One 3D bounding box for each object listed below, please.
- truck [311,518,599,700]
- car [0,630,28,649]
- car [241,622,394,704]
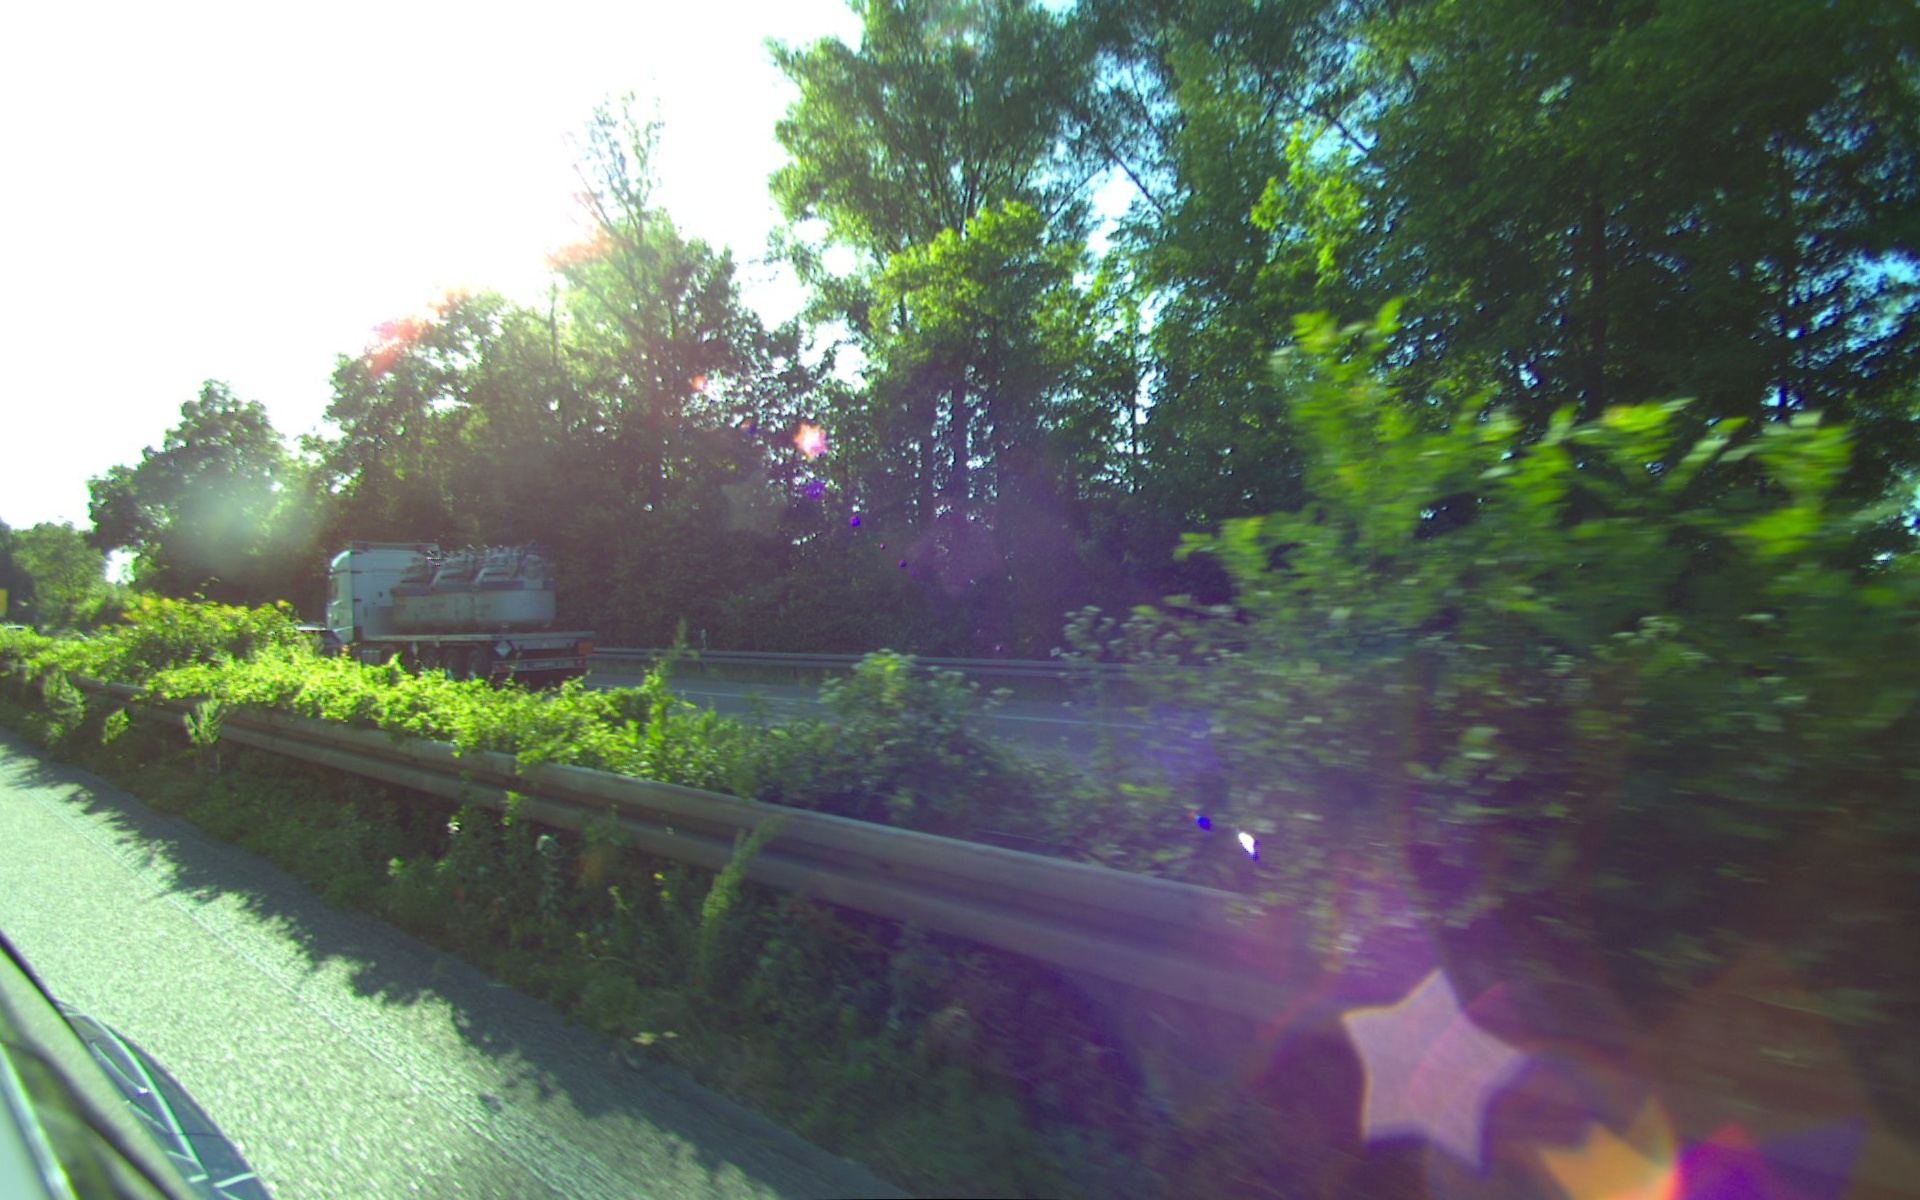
[{"bbox_3d":[-13.846,0.234,26.968,11.461,3.985,2.740,-1,0,41],"label":"truck"},{"bbox_3d":[-78.508,3.261,83.575,4.553,1.419,1.715,-2,-1,41],"label":"car"},{"bbox_3d":[-15.148,1.389,23.749,4.696,1.681,1.777,-1,0,41],"label":"car"}]
